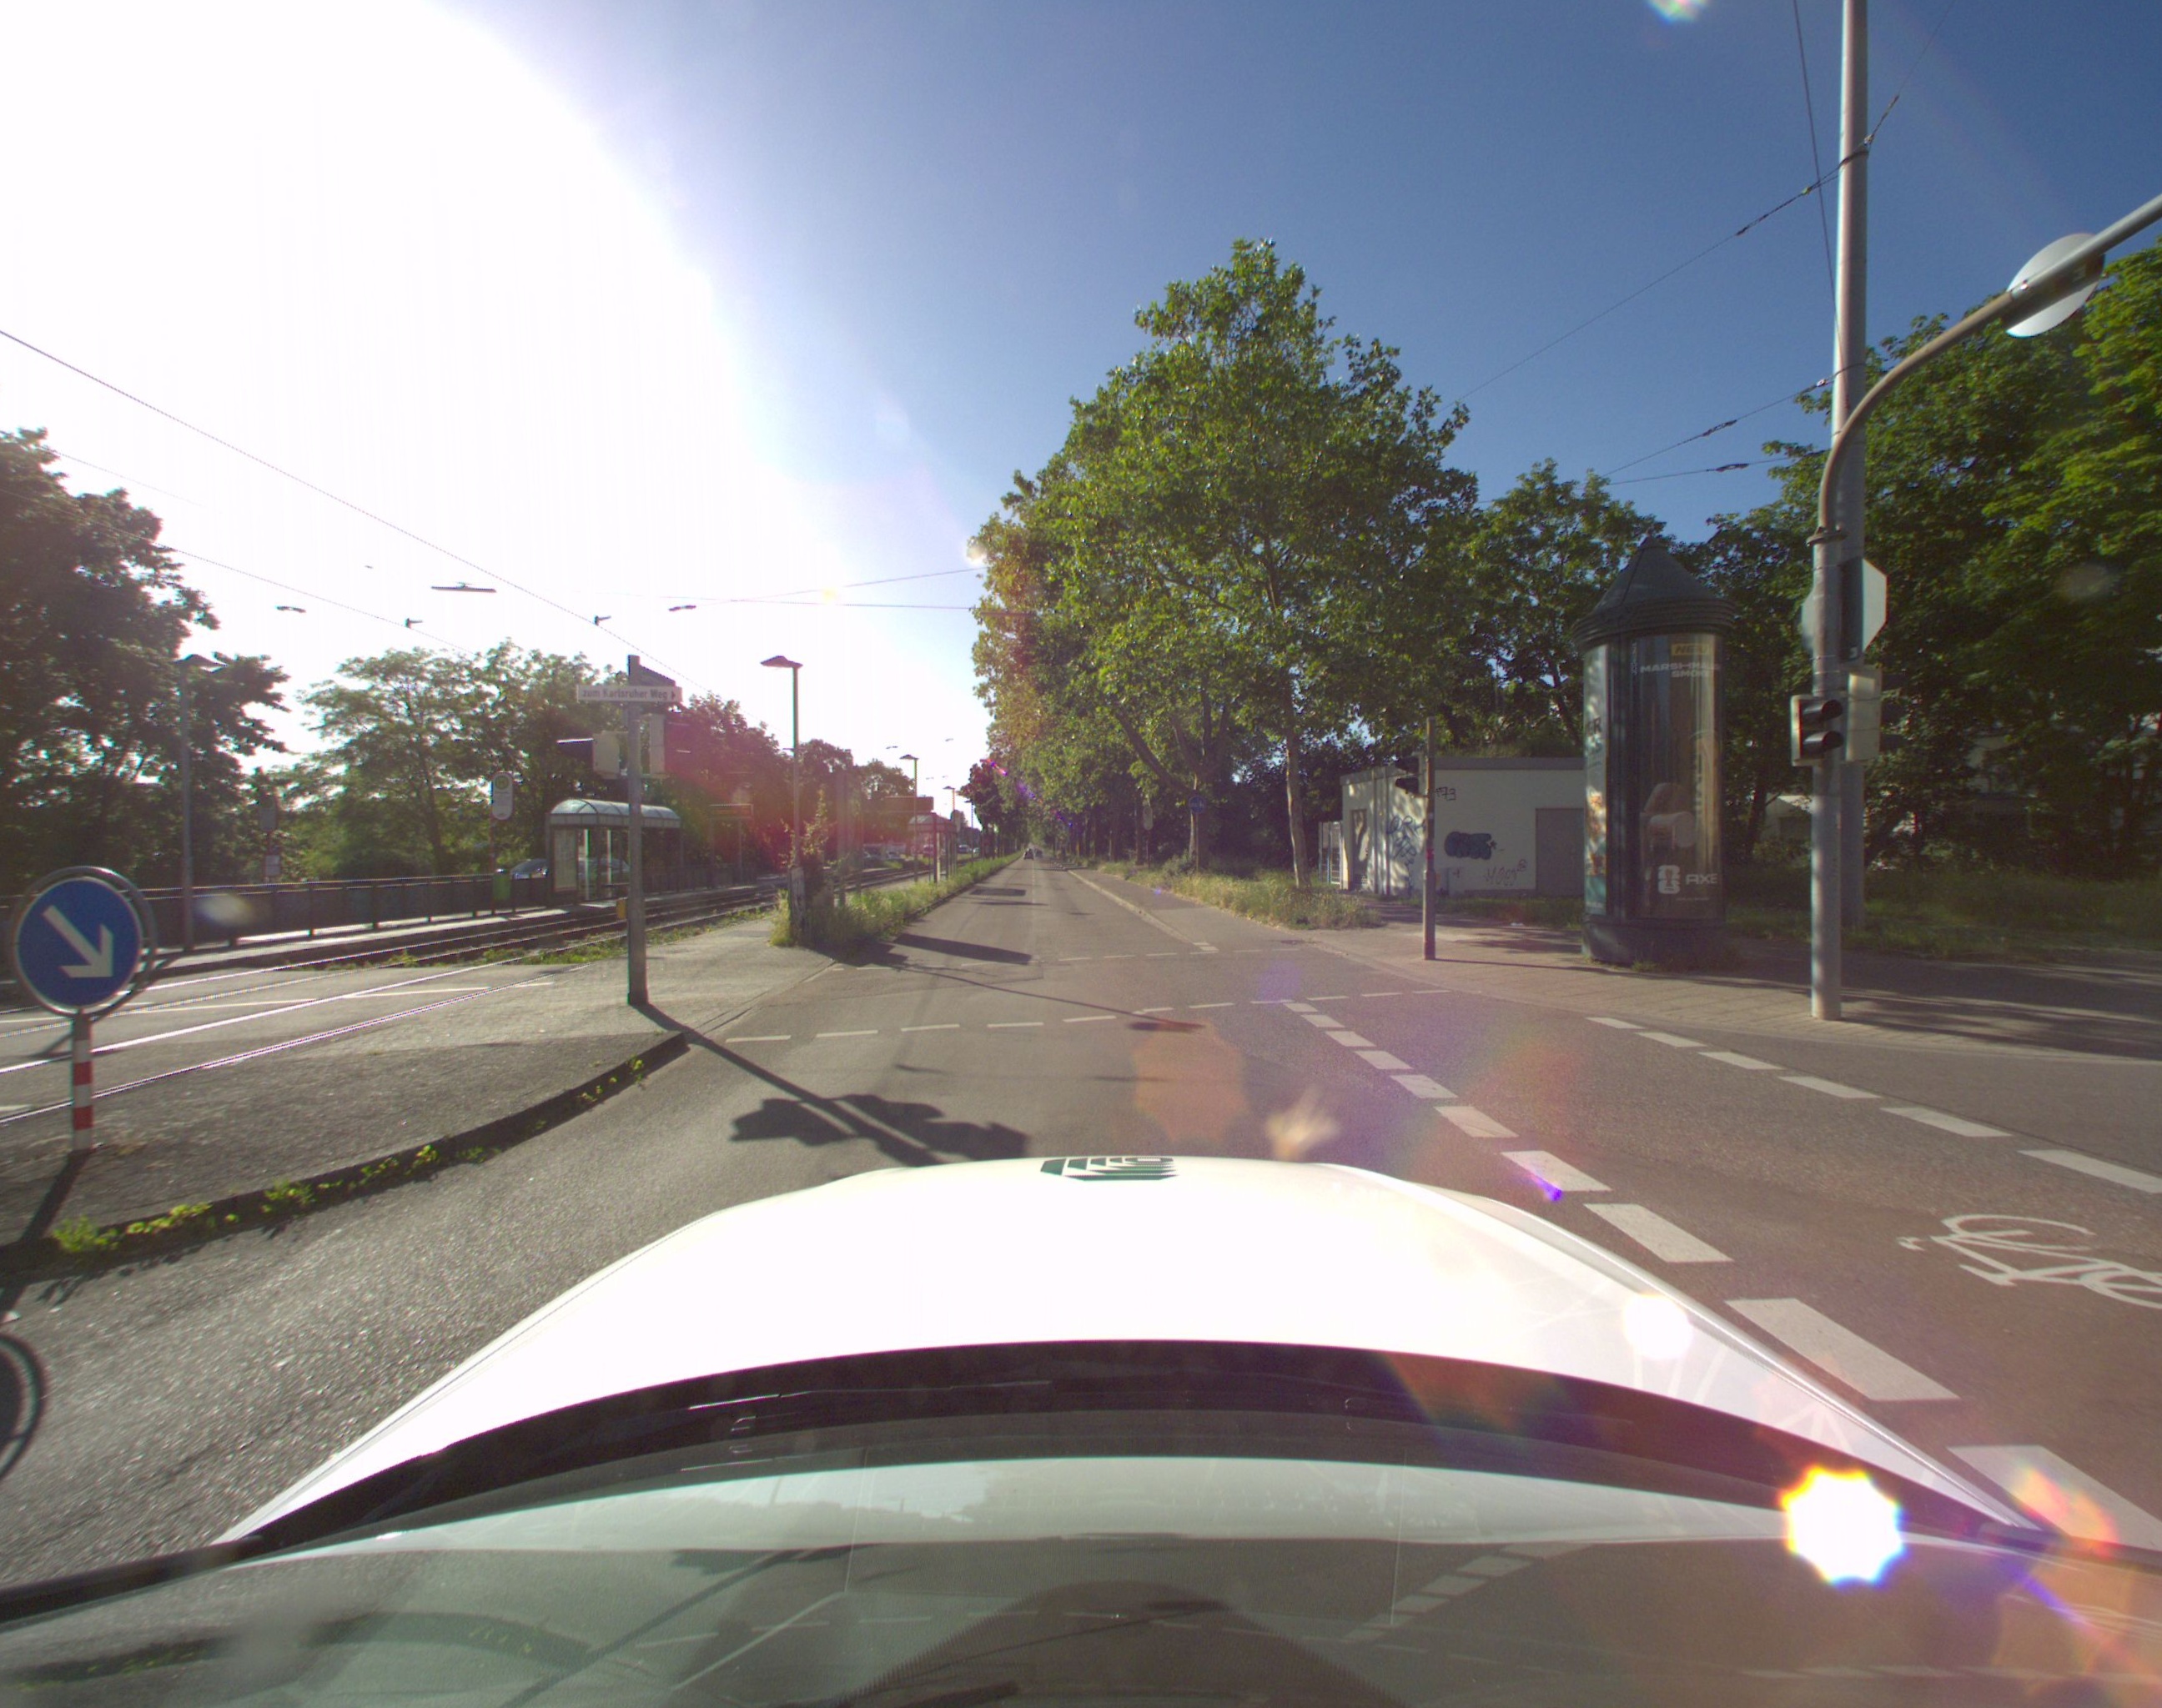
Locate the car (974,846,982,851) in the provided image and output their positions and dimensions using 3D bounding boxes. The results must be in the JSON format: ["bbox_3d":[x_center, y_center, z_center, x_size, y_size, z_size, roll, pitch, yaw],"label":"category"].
[{"bbox_3d":[-28.514,-1.629,226.114,1.917,1.266,3.995,-1,1,-4],"label":"car"}]

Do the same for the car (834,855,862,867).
[{"bbox_3d":[-25.379,0.747,88.781,1.915,1.266,3.998,-1,1,-2],"label":"car"}]

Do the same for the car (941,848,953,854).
[{"bbox_3d":[-29.506,-0.661,179.408,1.916,1.437,3.997,-1,1,-2],"label":"car"}]

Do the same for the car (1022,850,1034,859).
[{"bbox_3d":[-8.590,0.100,132.309,1.863,1.486,3.551,0,1,-3],"label":"car"}]

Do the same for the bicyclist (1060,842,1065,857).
[{"bbox_3d":[-2.166,-0.510,97.535,0.533,1.769,0.712,-1,1,-5],"label":"bicyclist"}]

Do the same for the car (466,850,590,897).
[{"bbox_3d":[-20.485,0.667,30.405,1.915,1.567,3.998,-1,1,-2],"label":"car"}]

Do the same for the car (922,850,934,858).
[{"bbox_3d":[-29.527,-0.006,157.268,1.740,1.496,3.589,-1,1,-2],"label":"car"}]

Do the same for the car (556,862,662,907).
[{"bbox_3d":[-17.516,1.096,30.455,1.801,1.466,3.994,0,1,-4],"label":"car"}]

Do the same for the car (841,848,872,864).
[{"bbox_3d":[-20.972,0.153,76.383,1.990,1.469,4.369,0,1,-5],"label":"car"}]

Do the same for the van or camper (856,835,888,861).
[{"bbox_3d":[-25.963,-0.767,101.564,2.584,3.106,6.780,-1,1,-3],"label":"van or camper"}]

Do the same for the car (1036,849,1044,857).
[{"bbox_3d":[-8.597,-0.215,170.257,1.746,1.604,3.746,0,1,-3],"label":"car"}]

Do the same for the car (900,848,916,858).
[{"bbox_3d":[-28.450,-0.167,133.948,1.916,1.576,3.997,-1,1,-2],"label":"car"}]

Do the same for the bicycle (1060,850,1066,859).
[{"bbox_3d":[-2.145,0.046,97.456,0.535,1.066,1.431,-1,1,-5],"label":"bicycle"}]

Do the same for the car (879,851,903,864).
[{"bbox_3d":[-22.521,0.394,96.834,1.989,1.469,4.372,0,1,-3],"label":"car"}]
